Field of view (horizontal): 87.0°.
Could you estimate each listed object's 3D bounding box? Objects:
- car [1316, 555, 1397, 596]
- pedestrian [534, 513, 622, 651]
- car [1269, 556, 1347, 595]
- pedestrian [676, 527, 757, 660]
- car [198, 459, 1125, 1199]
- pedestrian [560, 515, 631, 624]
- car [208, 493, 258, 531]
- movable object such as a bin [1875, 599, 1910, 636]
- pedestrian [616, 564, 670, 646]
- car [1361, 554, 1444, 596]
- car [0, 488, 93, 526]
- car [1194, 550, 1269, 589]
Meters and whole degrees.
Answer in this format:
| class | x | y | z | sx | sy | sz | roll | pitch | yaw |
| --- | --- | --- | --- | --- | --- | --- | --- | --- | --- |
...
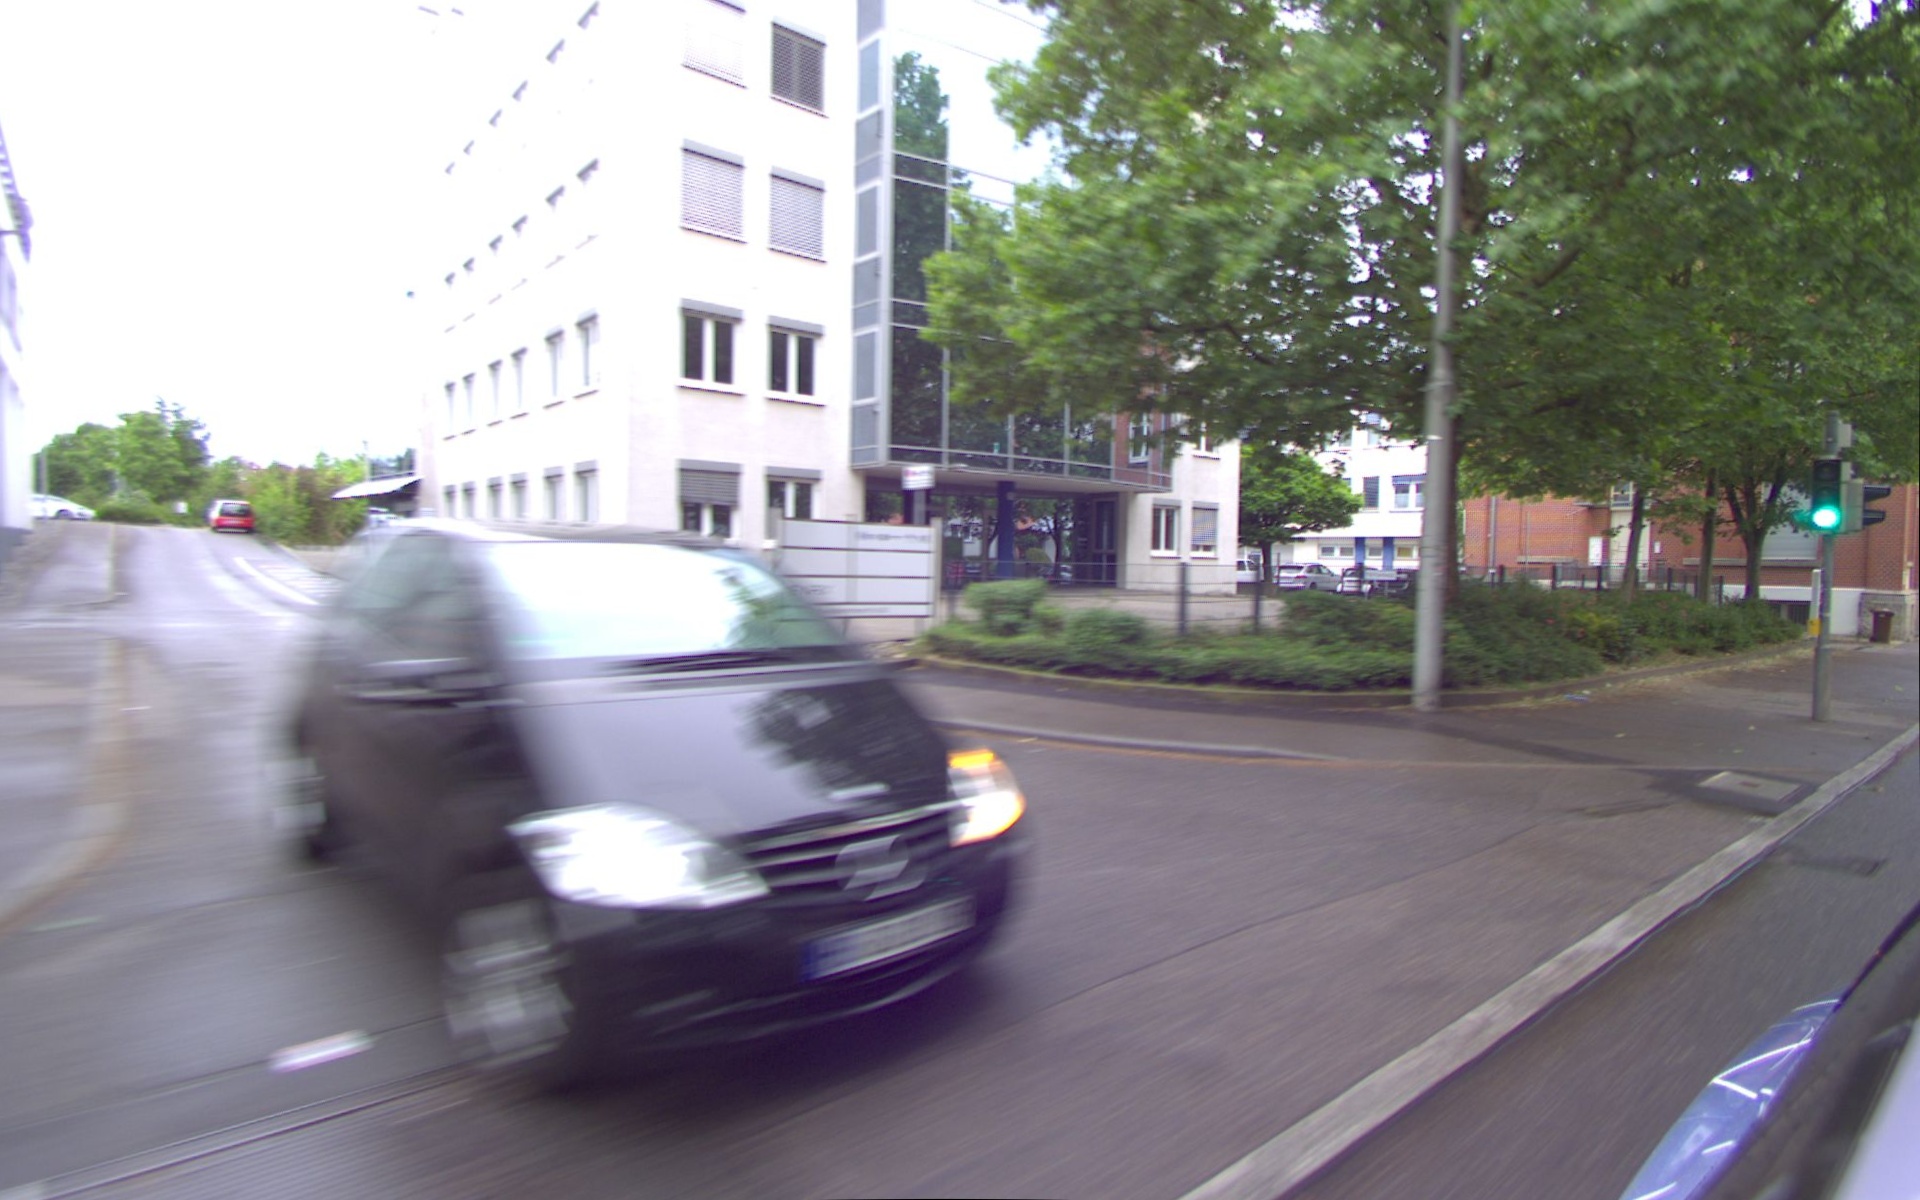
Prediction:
| class | x | y | z | sx | sy | sz | roll | pitch | yaw |
| --- | --- | --- | --- | --- | --- | --- | --- | --- | --- |
| car | 18.753 | -1.162 | 47.811 | 3.928 | 1.841 | 1.912 | -2 | 1 | -40 |
| pedestrian | -5.333 | -0.258 | 14.112 | 0.942 | 1.850 | 0.832 | 0 | 2 | -36 |
| car | 17.136 | -1.210 | 49.769 | 3.928 | 1.841 | 1.912 | -2 | 1 | -40 |
| pedestrian | -3.142 | -0.102 | 13.022 | 0.689 | 1.637 | 0.921 | 1 | 2 | -37 |
| car | -1.512 | 0.387 | 4.147 | 3.850 | 1.566 | 1.995 | 4 | 3 | 44 |
| pedestrian | -6.395 | -0.538 | 17.744 | 0.942 | 1.850 | 0.832 | 0 | 2 | -37 |
| car | -35.083 | -4.219 | 48.800 | 1.753 | 1.655 | 3.859 | 0 | 3 | -39 |
| movable object such as a bin | 25.326 | 0.478 | 27.488 | 0.562 | 0.944 | 0.592 | 0 | 3 | -41 |
| pedestrian | -4.597 | 0.061 | 14.666 | 0.552 | 1.145 | 0.623 | 0 | 2 | -37 |
| car | 20.095 | -1.153 | 45.952 | 3.928 | 1.841 | 1.912 | -2 | 1 | -40 |
| car | -47.287 | -4.778 | 52.120 | 3.929 | 1.727 | 1.564 | 0 | 3 | -40 |
| car | 14.380 | -1.622 | 53.577 | 3.928 | 1.973 | 1.912 | -2 | 1 | -40 |
